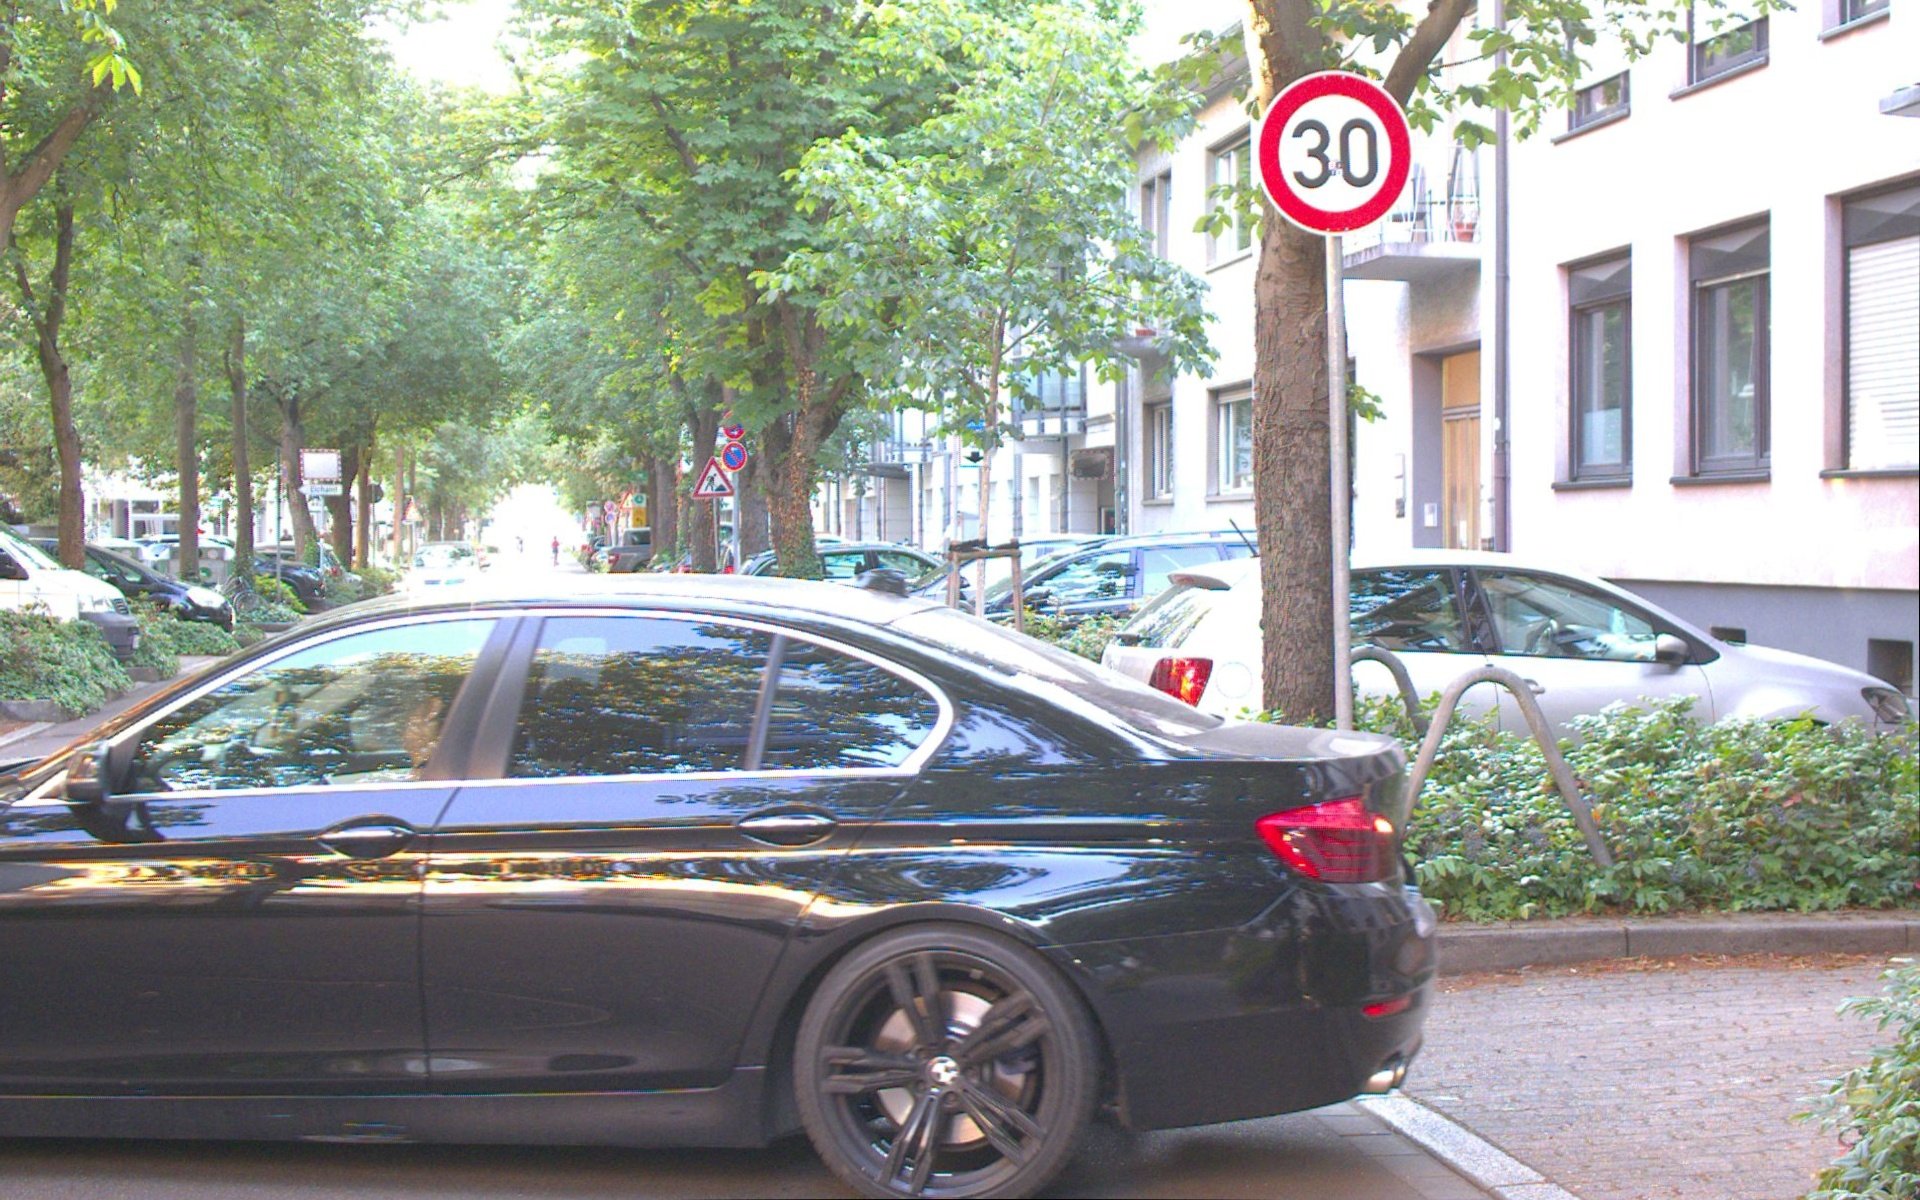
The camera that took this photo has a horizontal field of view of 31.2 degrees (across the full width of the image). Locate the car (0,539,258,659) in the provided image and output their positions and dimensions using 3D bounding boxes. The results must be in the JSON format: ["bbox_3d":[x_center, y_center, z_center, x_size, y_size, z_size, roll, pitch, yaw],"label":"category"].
[{"bbox_3d":[-11.930,-0.033,48.043,3.967,1.614,1.785,0,1,-6],"label":"car"}]

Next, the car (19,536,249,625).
[{"bbox_3d":[-15.469,-0.375,64.508,3.967,1.614,1.785,0,1,-5],"label":"car"}]

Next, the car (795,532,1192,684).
[{"bbox_3d":[0.316,0.064,36.150,3.967,1.522,1.785,-1,1,-7],"label":"car"}]

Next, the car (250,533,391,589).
[{"bbox_3d":[-19.029,-1.175,102.371,3.967,1.614,1.785,0,1,-5],"label":"car"}]

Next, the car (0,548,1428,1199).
[{"bbox_3d":[-1.248,0.622,8.569,4.746,1.475,1.800,0,1,7],"label":"car"}]

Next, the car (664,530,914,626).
[{"bbox_3d":[-2.853,-0.377,56.824,3.967,1.522,1.785,-1,1,-8],"label":"car"}]

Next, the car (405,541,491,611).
[{"bbox_3d":[-11.813,-0.576,79.558,1.779,1.557,4.169,0,1,-6],"label":"car"}]

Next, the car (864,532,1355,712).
[{"bbox_3d":[1.250,0.162,29.680,3.967,1.471,1.785,-1,1,-8],"label":"car"}]

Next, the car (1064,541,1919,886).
[{"bbox_3d":[2.559,0.476,16.076,3.908,1.471,1.665,-1,1,-8],"label":"car"}]

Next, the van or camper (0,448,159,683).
[{"bbox_3d":[-11.133,-0.379,37.045,4.662,2.470,2.000,0,1,-7],"label":"van or camper"}]

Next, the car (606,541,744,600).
[{"bbox_3d":[-8.359,-0.878,100.776,3.967,1.678,1.785,0,1,-5],"label":"car"}]

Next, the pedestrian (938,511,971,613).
[{"bbox_3d":[-0.112,-0.756,68.304,0.589,2.007,0.669,0,1,-5],"label":"pedestrian"}]

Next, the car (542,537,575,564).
[{"bbox_3d":[-23.430,-2.890,200.785,1.822,1.525,4.001,-1,1,-6],"label":"car"}]

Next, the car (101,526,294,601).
[{"bbox_3d":[-16.846,-0.814,76.134,3.967,1.614,1.785,0,1,-5],"label":"car"}]

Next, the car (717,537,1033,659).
[{"bbox_3d":[-1.136,-0.047,44.961,3.967,1.522,1.785,-1,1,-7],"label":"car"}]
